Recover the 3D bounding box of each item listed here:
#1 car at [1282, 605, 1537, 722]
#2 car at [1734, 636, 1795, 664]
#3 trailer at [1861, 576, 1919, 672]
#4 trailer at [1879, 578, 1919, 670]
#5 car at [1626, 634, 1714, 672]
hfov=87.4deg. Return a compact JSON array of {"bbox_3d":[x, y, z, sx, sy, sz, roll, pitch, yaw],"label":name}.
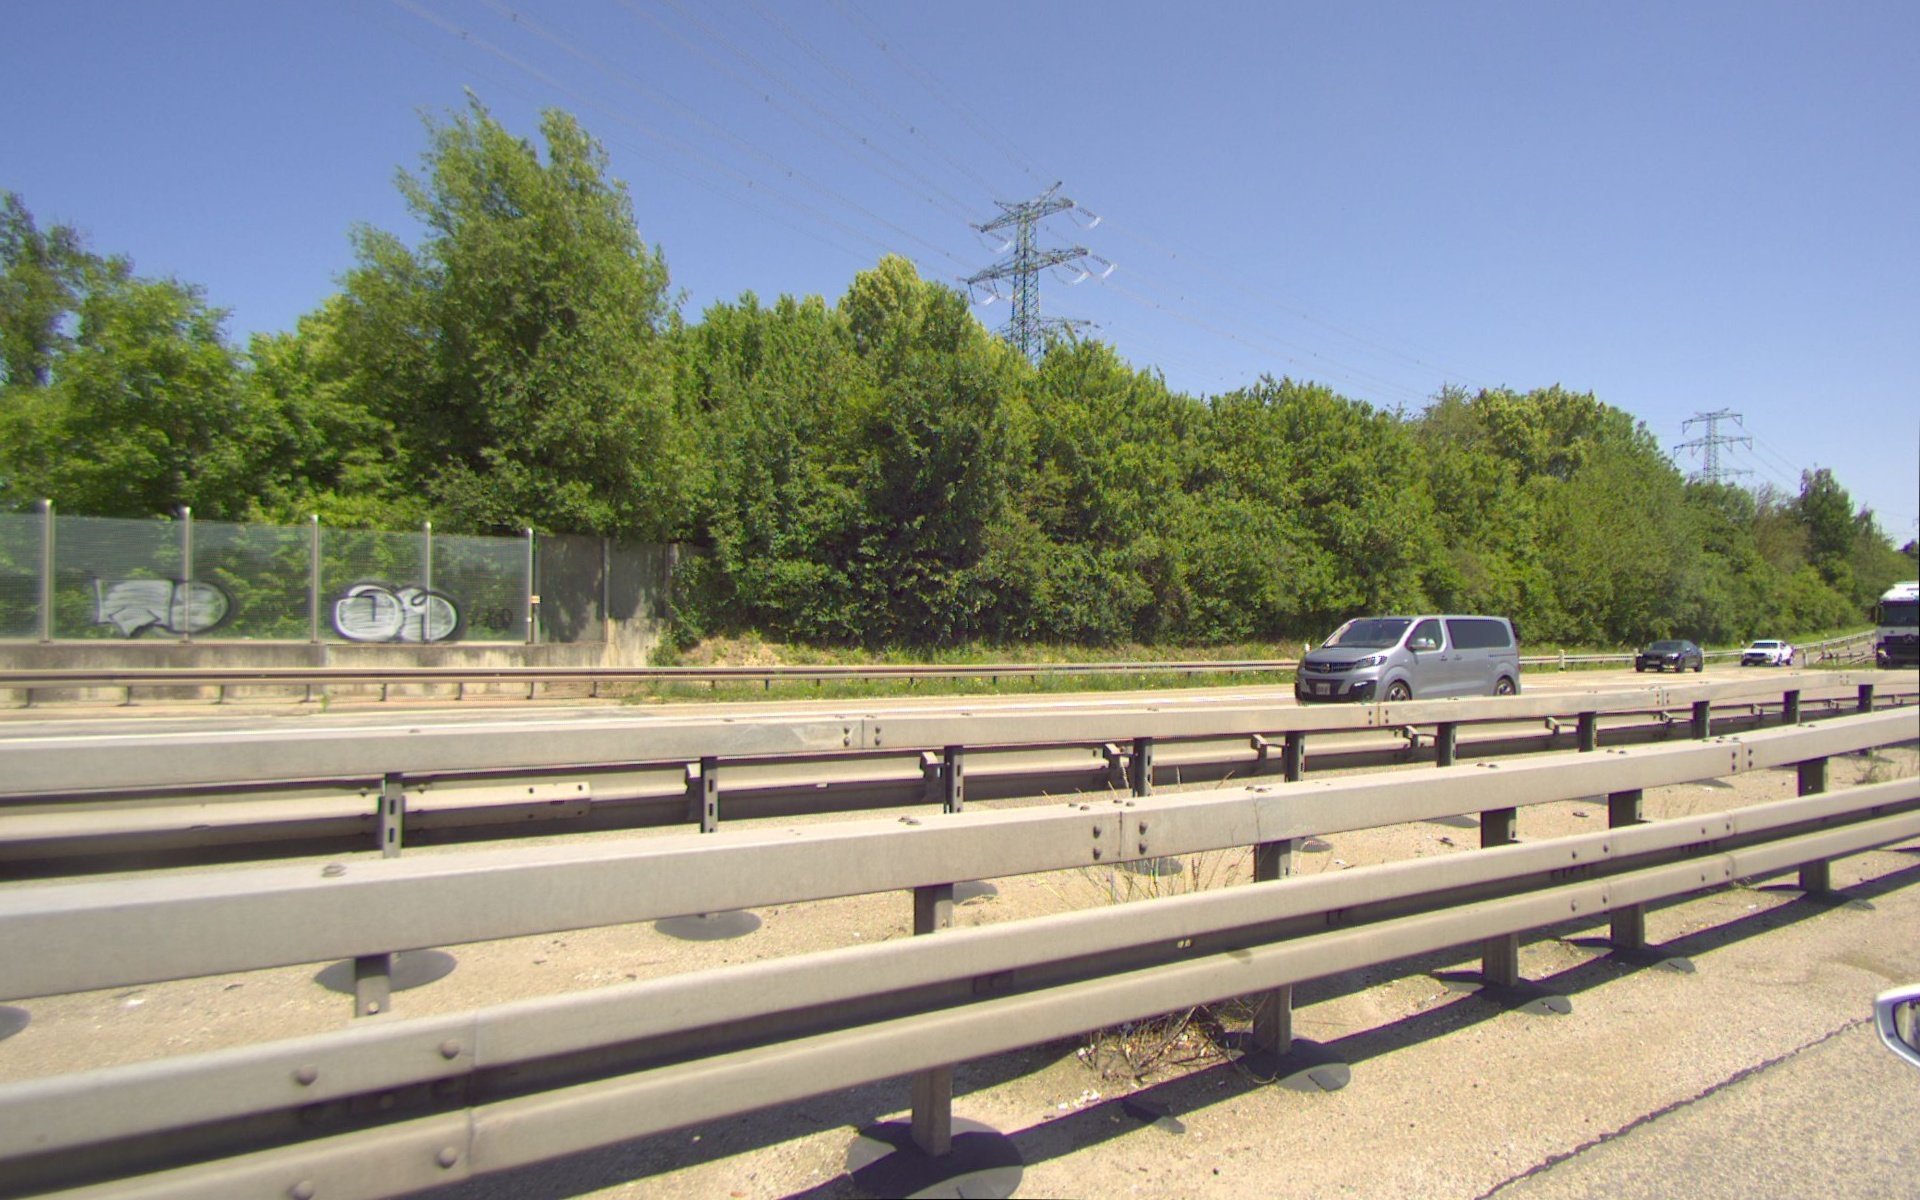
[{"bbox_3d":[8.558,1.162,19.016,4.839,1.966,1.984,2,-2,-30],"label":"car"},{"bbox_3d":[47.704,2.968,59.514,4.303,1.475,1.674,2,0,-36],"label":"car"},{"bbox_3d":[42.872,1.083,44.482,6.061,4.028,2.743,1,-2,-31],"label":"trailer"},{"bbox_3d":[48.297,1.184,47.786,14.512,4.028,2.750,1,-2,-31],"label":"trailer"},{"bbox_3d":[33.861,2.508,47.851,5.228,1.597,1.978,2,0,-38],"label":"car"}]
